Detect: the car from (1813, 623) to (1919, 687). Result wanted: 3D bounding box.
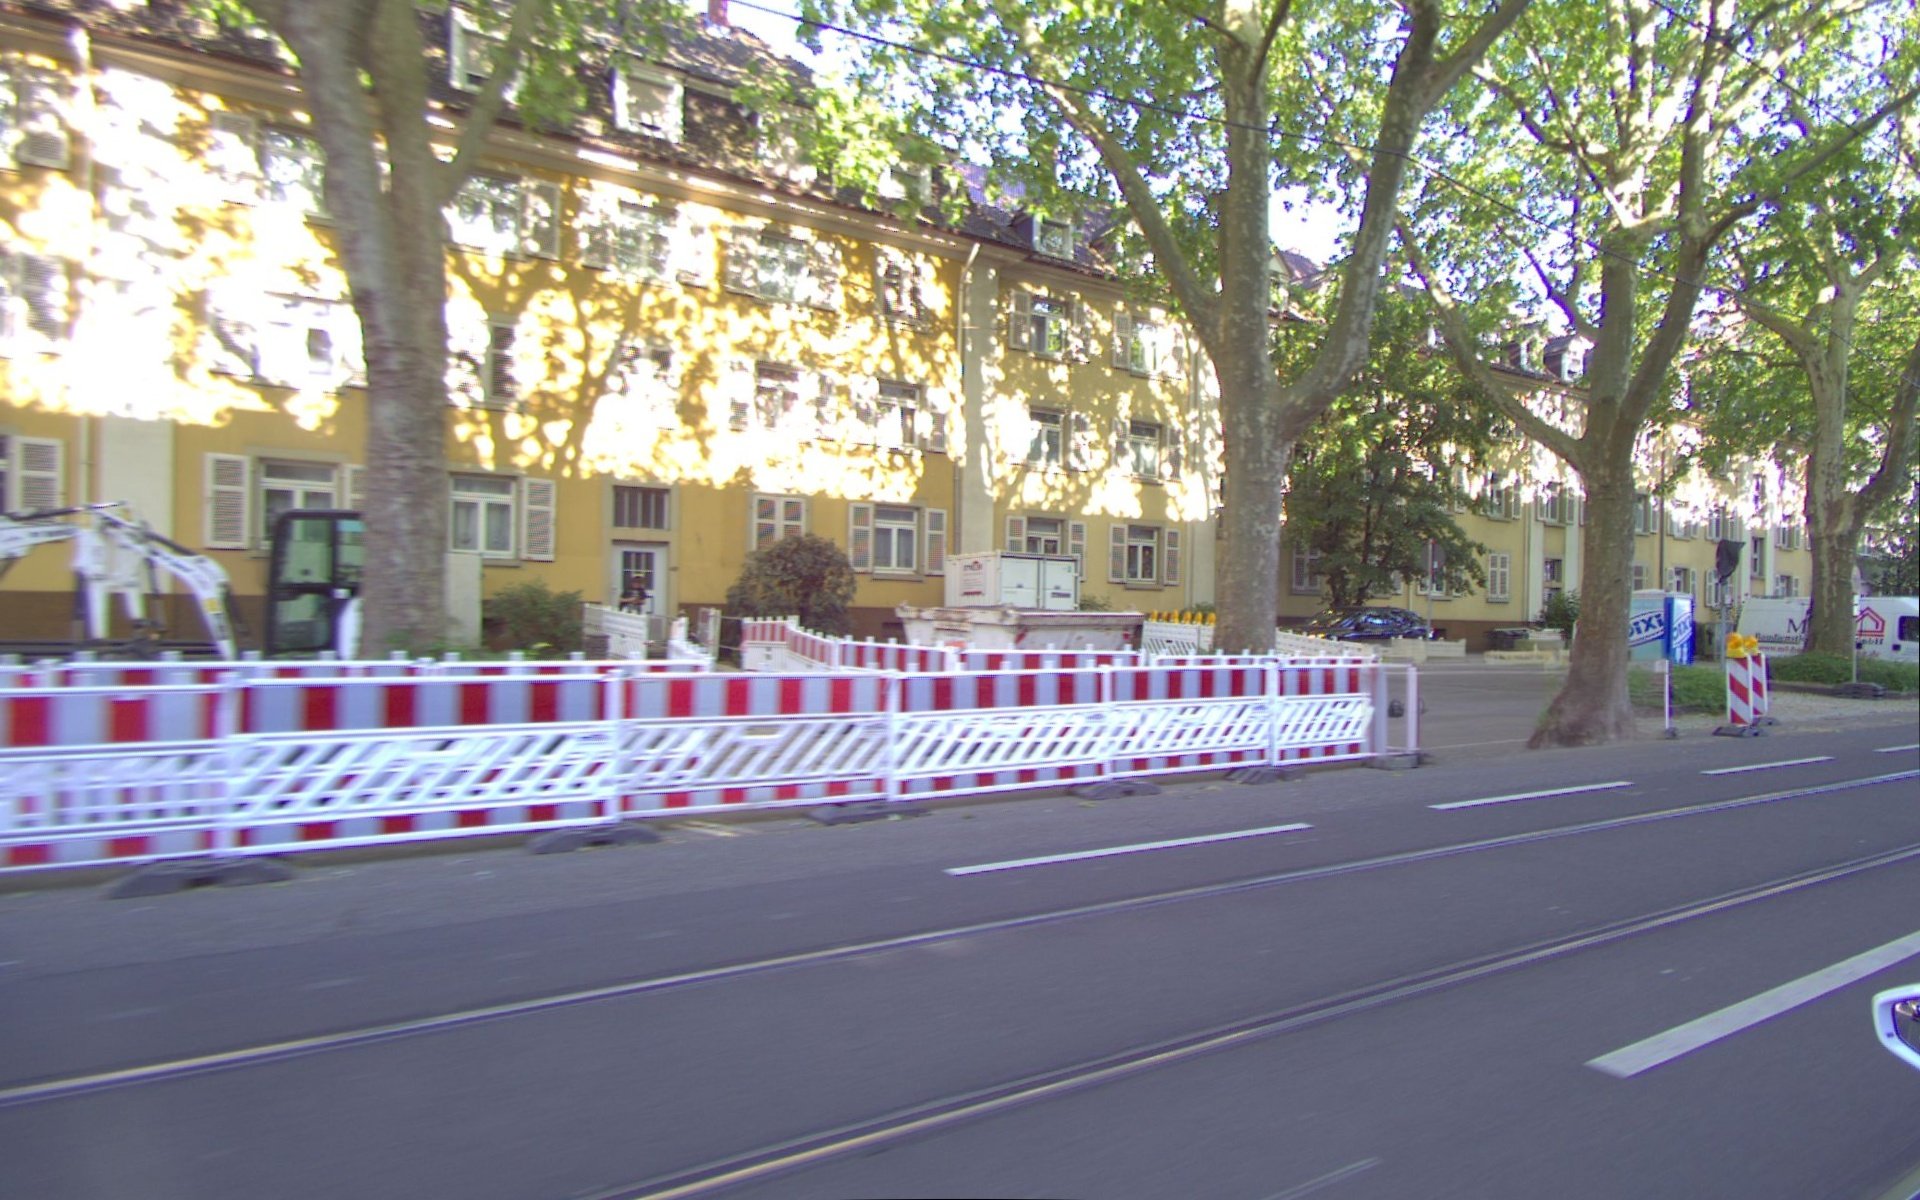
[{"bbox_3d":[26.719,1.543,27.979,1.943,1.693,4.144,2,-1,-32],"label":"car"}]

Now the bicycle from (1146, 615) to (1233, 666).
[{"bbox_3d":[5.421,0.949,23.671,2.085,1.156,0.623,1,0,-27],"label":"bicycle"}]

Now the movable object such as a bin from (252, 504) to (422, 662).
[{"bbox_3d":[-7.024,-0.169,11.426,1.541,1.667,1.092,2,1,-30],"label":"movable object such as a bin"}]

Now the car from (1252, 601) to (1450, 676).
[{"bbox_3d":[9.318,0.900,23.895,4.460,1.592,1.784,1,1,-26],"label":"car"}]

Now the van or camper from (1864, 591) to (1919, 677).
[{"bbox_3d":[32.139,1.146,31.095,2.242,2.679,5.698,2,0,-29],"label":"van or camper"}]

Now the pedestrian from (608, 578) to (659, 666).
[{"bbox_3d":[-6.412,0.426,19.740,0.662,1.678,0.669,1,0,36],"label":"pedestrian"}]

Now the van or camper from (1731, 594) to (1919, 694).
[{"bbox_3d":[24.182,1.123,26.636,2.239,2.411,5.483,2,0,-26],"label":"van or camper"}]
